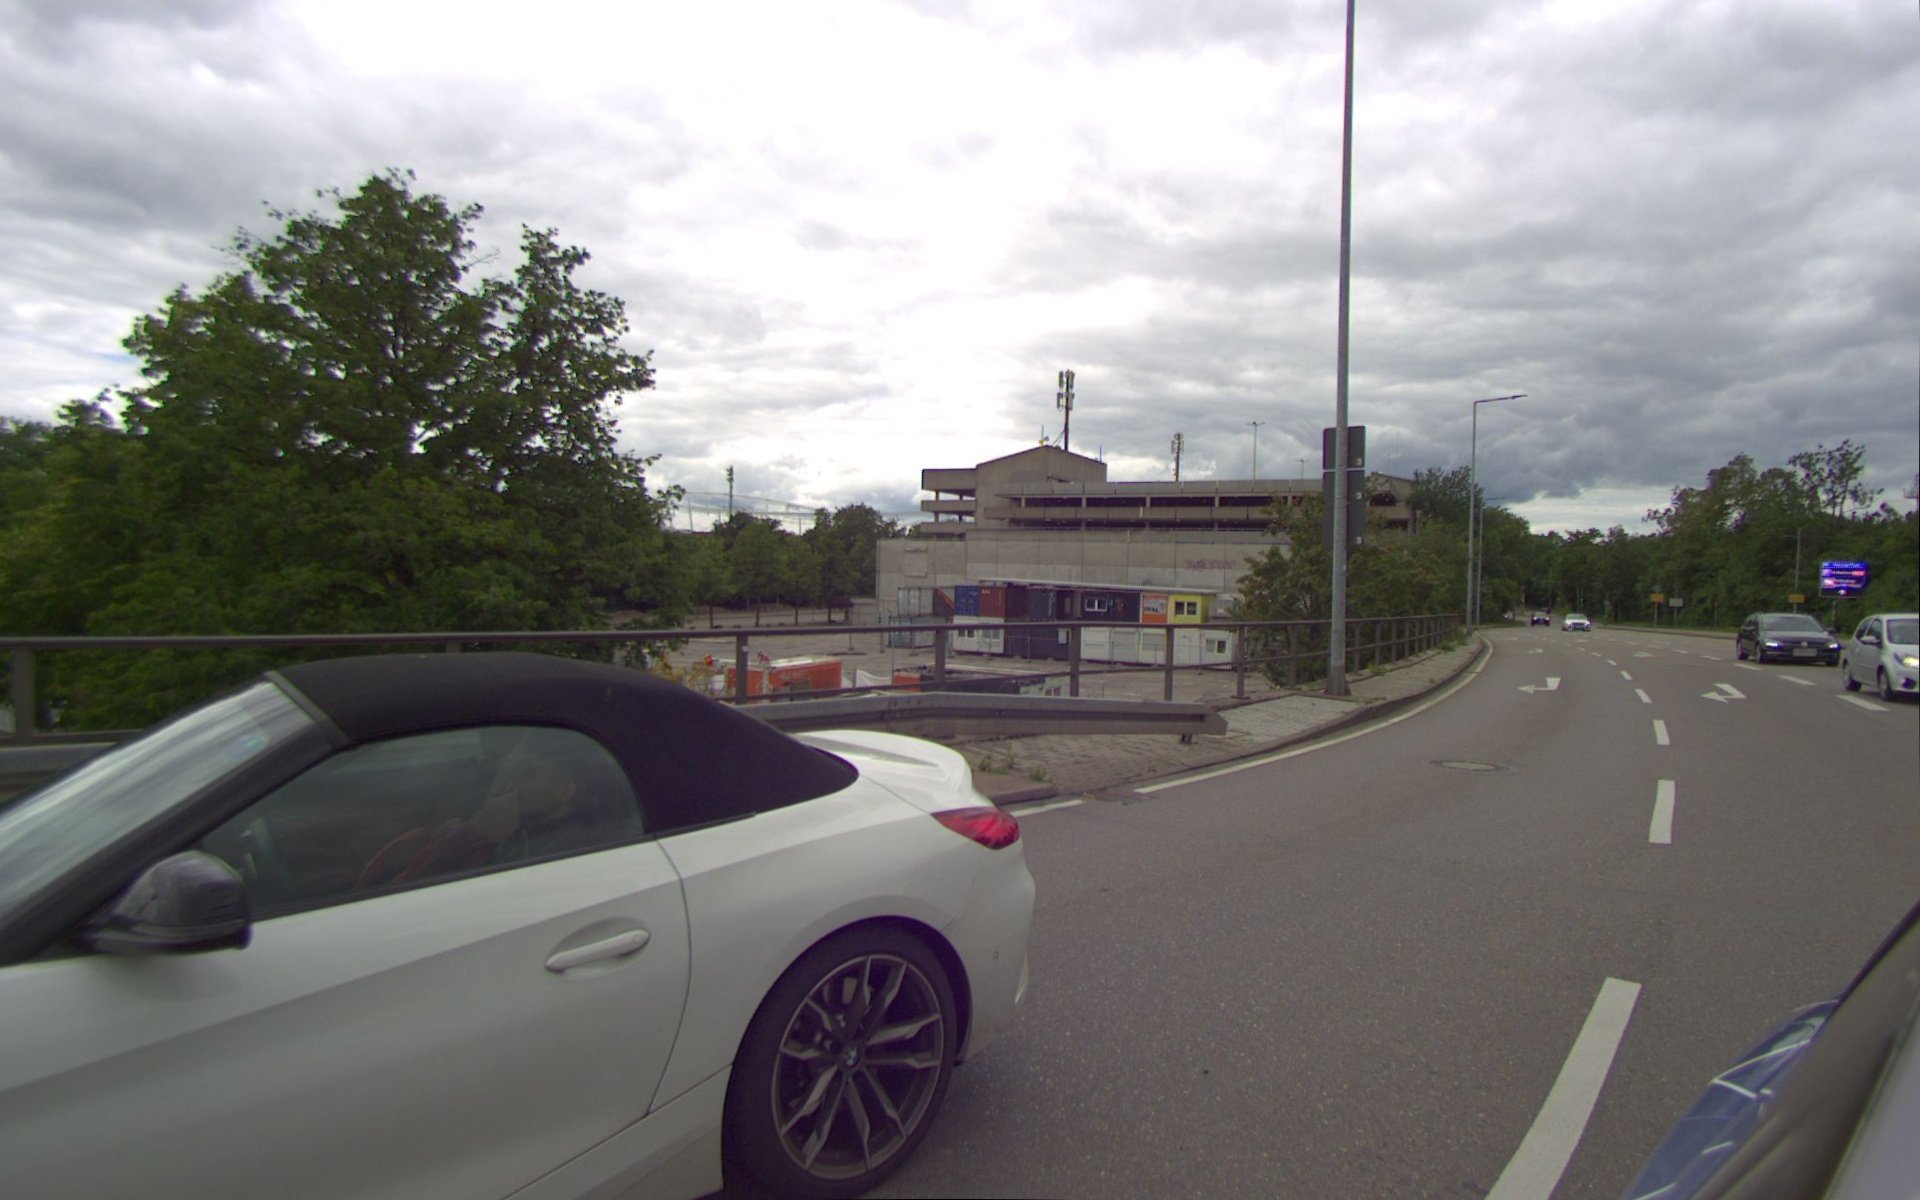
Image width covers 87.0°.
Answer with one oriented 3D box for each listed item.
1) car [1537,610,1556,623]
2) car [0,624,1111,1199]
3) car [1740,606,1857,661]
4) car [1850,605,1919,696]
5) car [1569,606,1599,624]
[{"bbox_3d":[71.778,1.989,123.851,1.848,1.434,4.296,1,0,28],"label":"car"},{"bbox_3d":[-1.732,0.758,2.388,4.186,1.308,1.809,0,0,-39],"label":"car"},{"bbox_3d":[23.964,0.896,29.091,1.850,1.434,4.292,1,0,30],"label":"car"},{"bbox_3d":[16.642,0.815,17.227,1.597,1.434,3.551,1,0,31],"label":"car"},{"bbox_3d":[52.322,1.251,84.919,1.849,1.434,4.294,1,0,29],"label":"car"}]
